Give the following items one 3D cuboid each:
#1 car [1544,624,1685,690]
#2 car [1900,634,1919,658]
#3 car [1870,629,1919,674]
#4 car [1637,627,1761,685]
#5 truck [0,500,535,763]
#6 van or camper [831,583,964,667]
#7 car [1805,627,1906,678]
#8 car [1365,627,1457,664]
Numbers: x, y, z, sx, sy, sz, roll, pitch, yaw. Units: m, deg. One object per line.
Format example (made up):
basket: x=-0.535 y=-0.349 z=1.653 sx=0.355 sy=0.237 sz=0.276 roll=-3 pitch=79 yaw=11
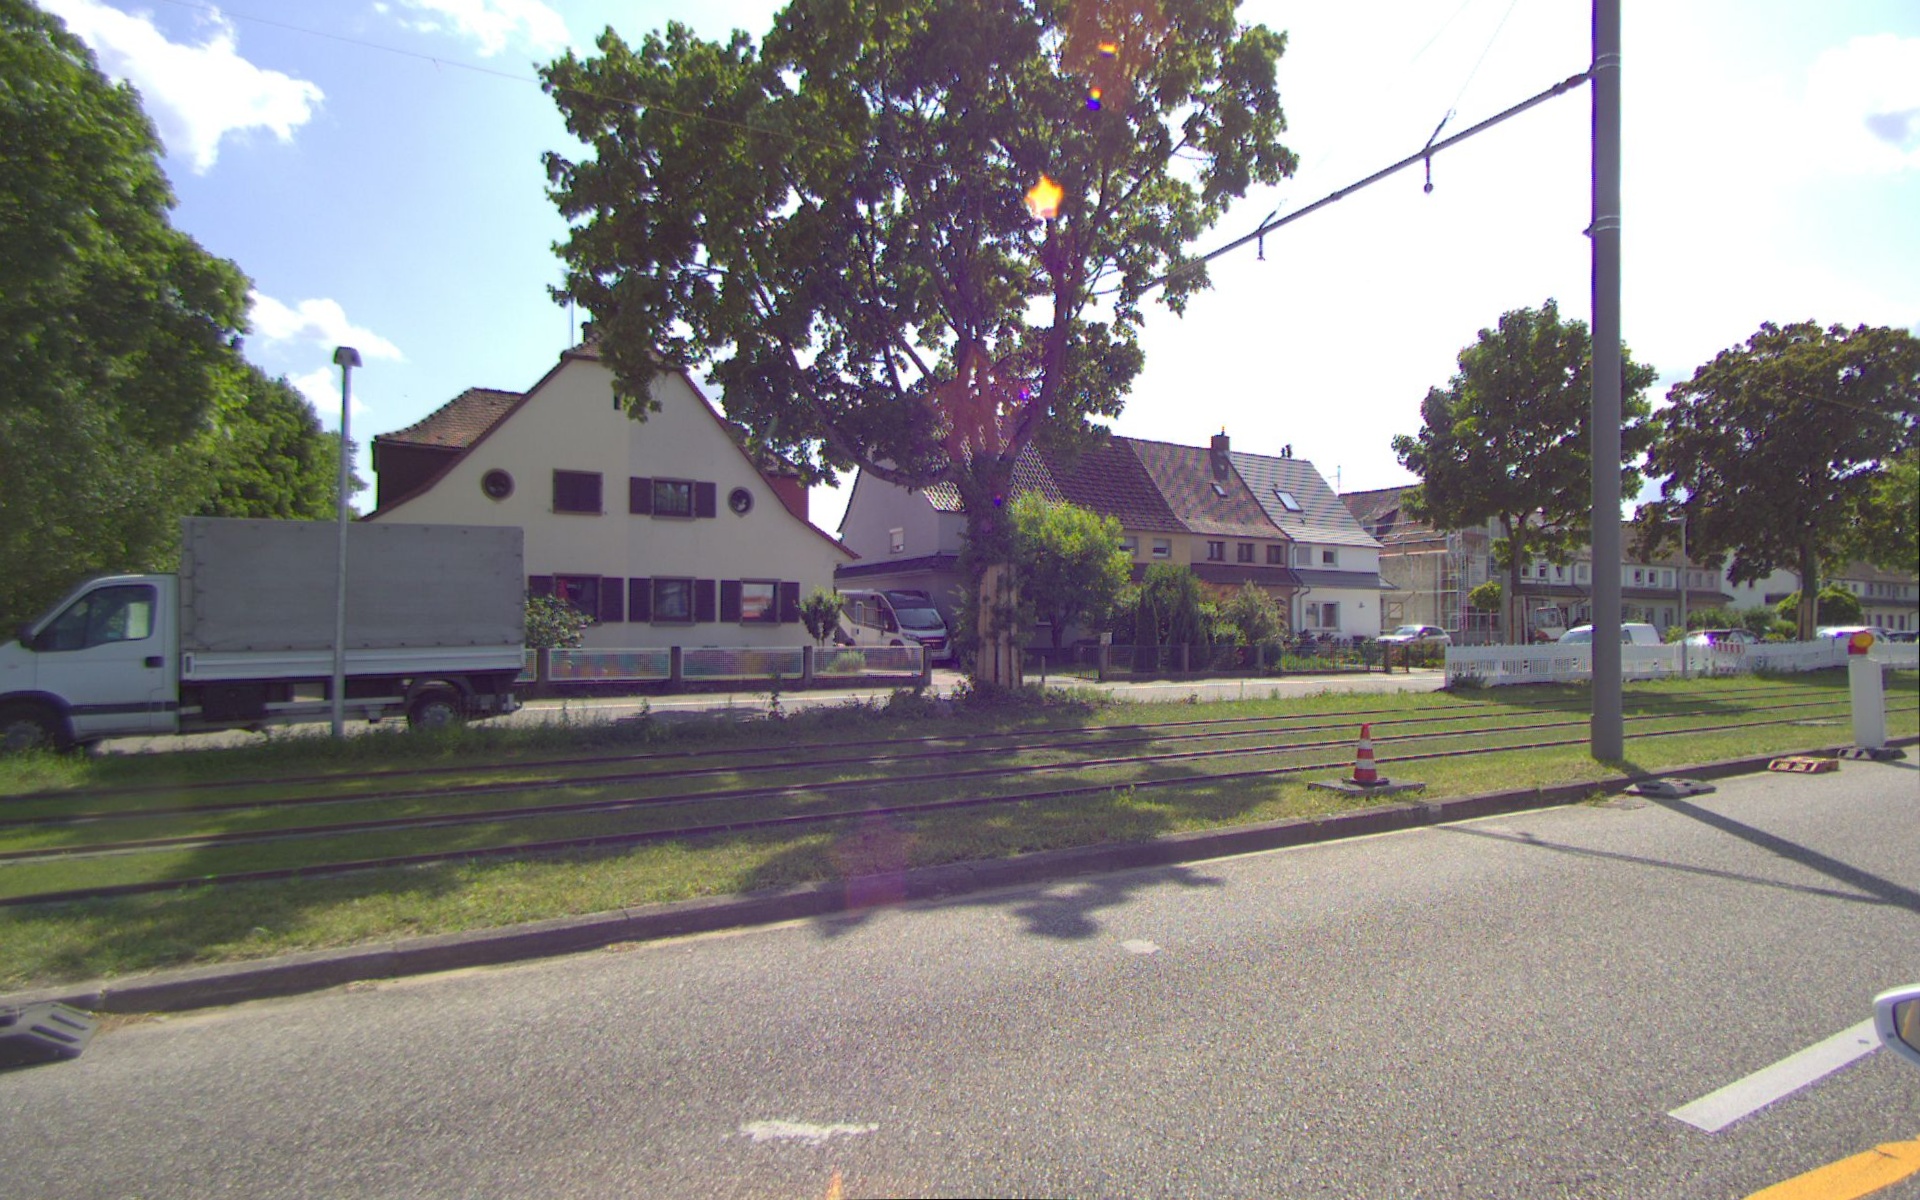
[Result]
car: x=19.577 y=1.644 z=30.021 sx=4.312 sy=1.845 sz=1.768 roll=1 pitch=-2 yaw=-30
car: x=70.034 y=3.313 z=72.746 sx=4.079 sy=1.745 sz=1.768 roll=1 pitch=-2 yaw=-30
car: x=40.650 y=2.168 z=42.695 sx=4.079 sy=1.829 sz=1.768 roll=1 pitch=-2 yaw=-30
car: x=24.295 y=1.807 z=33.000 sx=4.177 sy=1.797 sz=1.768 roll=1 pitch=-2 yaw=-30
truck: x=-8.829 y=0.400 z=12.968 sx=5.906 sy=2.817 sz=2.255 roll=1 pitch=-2 yaw=-31
van or camper: x=-2.400 y=0.935 z=36.630 sx=2.269 sy=2.801 sz=6.050 roll=1 pitch=-2 yaw=-32
car: x=35.326 y=2.033 z=39.615 sx=4.079 sy=1.892 sz=1.768 roll=1 pitch=-2 yaw=-30
car: x=19.994 y=1.991 z=44.494 sx=3.953 sy=1.539 sz=1.768 roll=1 pitch=-2 yaw=-30
